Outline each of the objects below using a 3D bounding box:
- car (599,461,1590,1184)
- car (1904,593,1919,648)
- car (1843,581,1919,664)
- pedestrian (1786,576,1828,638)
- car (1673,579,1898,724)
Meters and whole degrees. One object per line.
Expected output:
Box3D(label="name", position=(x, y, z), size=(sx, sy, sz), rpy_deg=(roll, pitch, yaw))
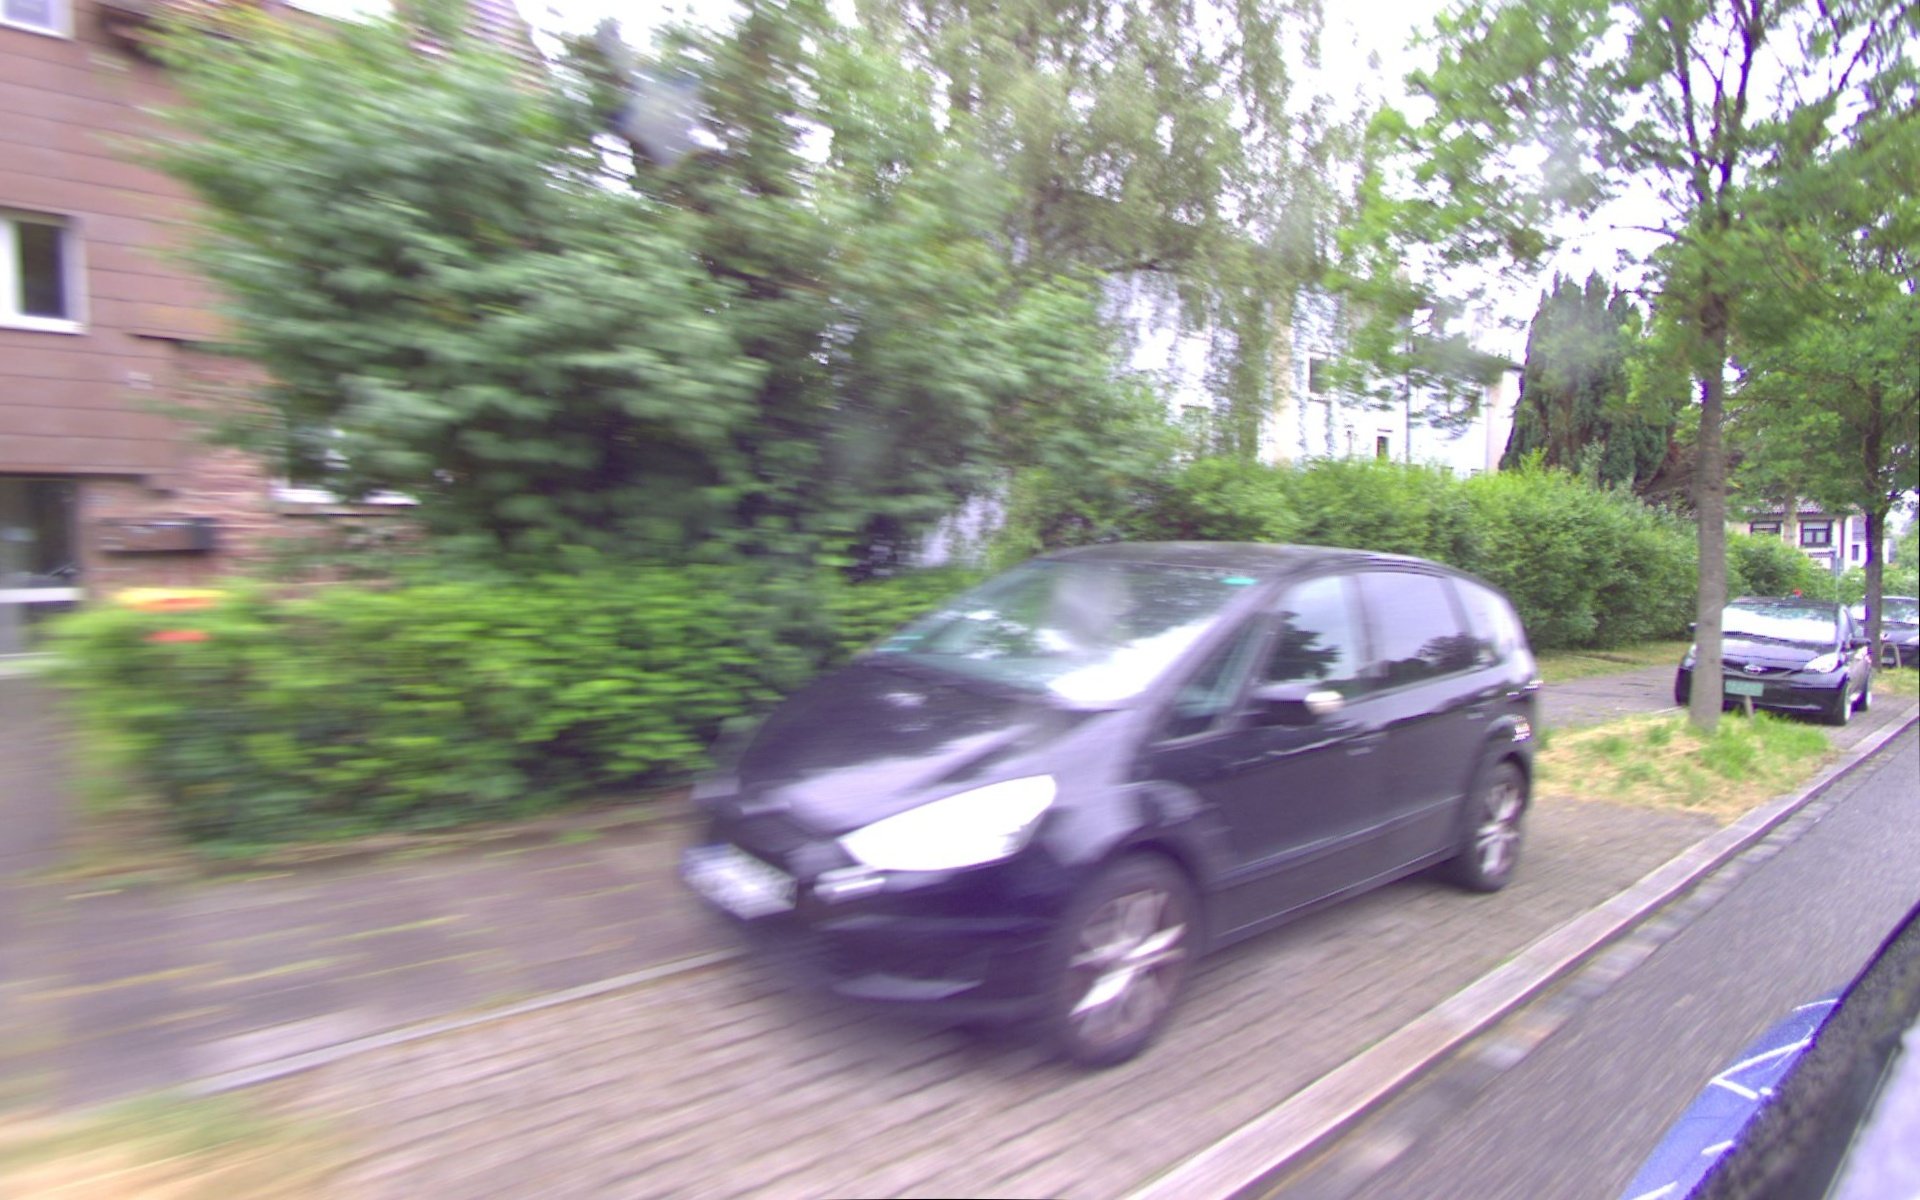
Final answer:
Box3D(label="car", position=(0.967, 0.469, 4.533), size=(4.504, 1.698, 1.828), rpy_deg=(0, 3, -41))
Box3D(label="car", position=(29.349, 0.626, 29.831), size=(4.512, 1.540, 1.802), rpy_deg=(0, 3, -42))
Box3D(label="car", position=(20.274, 0.458, 21.637), size=(3.946, 1.615, 1.644), rpy_deg=(0, 3, -43))
Box3D(label="pedestrian", position=(23.891, 0.187, 28.558), size=(0.641, 1.700, 0.710), rpy_deg=(0, 2, -34))
Box3D(label="car", position=(10.727, 0.560, 13.068), size=(3.722, 1.530, 1.724), rpy_deg=(0, 3, -43))
